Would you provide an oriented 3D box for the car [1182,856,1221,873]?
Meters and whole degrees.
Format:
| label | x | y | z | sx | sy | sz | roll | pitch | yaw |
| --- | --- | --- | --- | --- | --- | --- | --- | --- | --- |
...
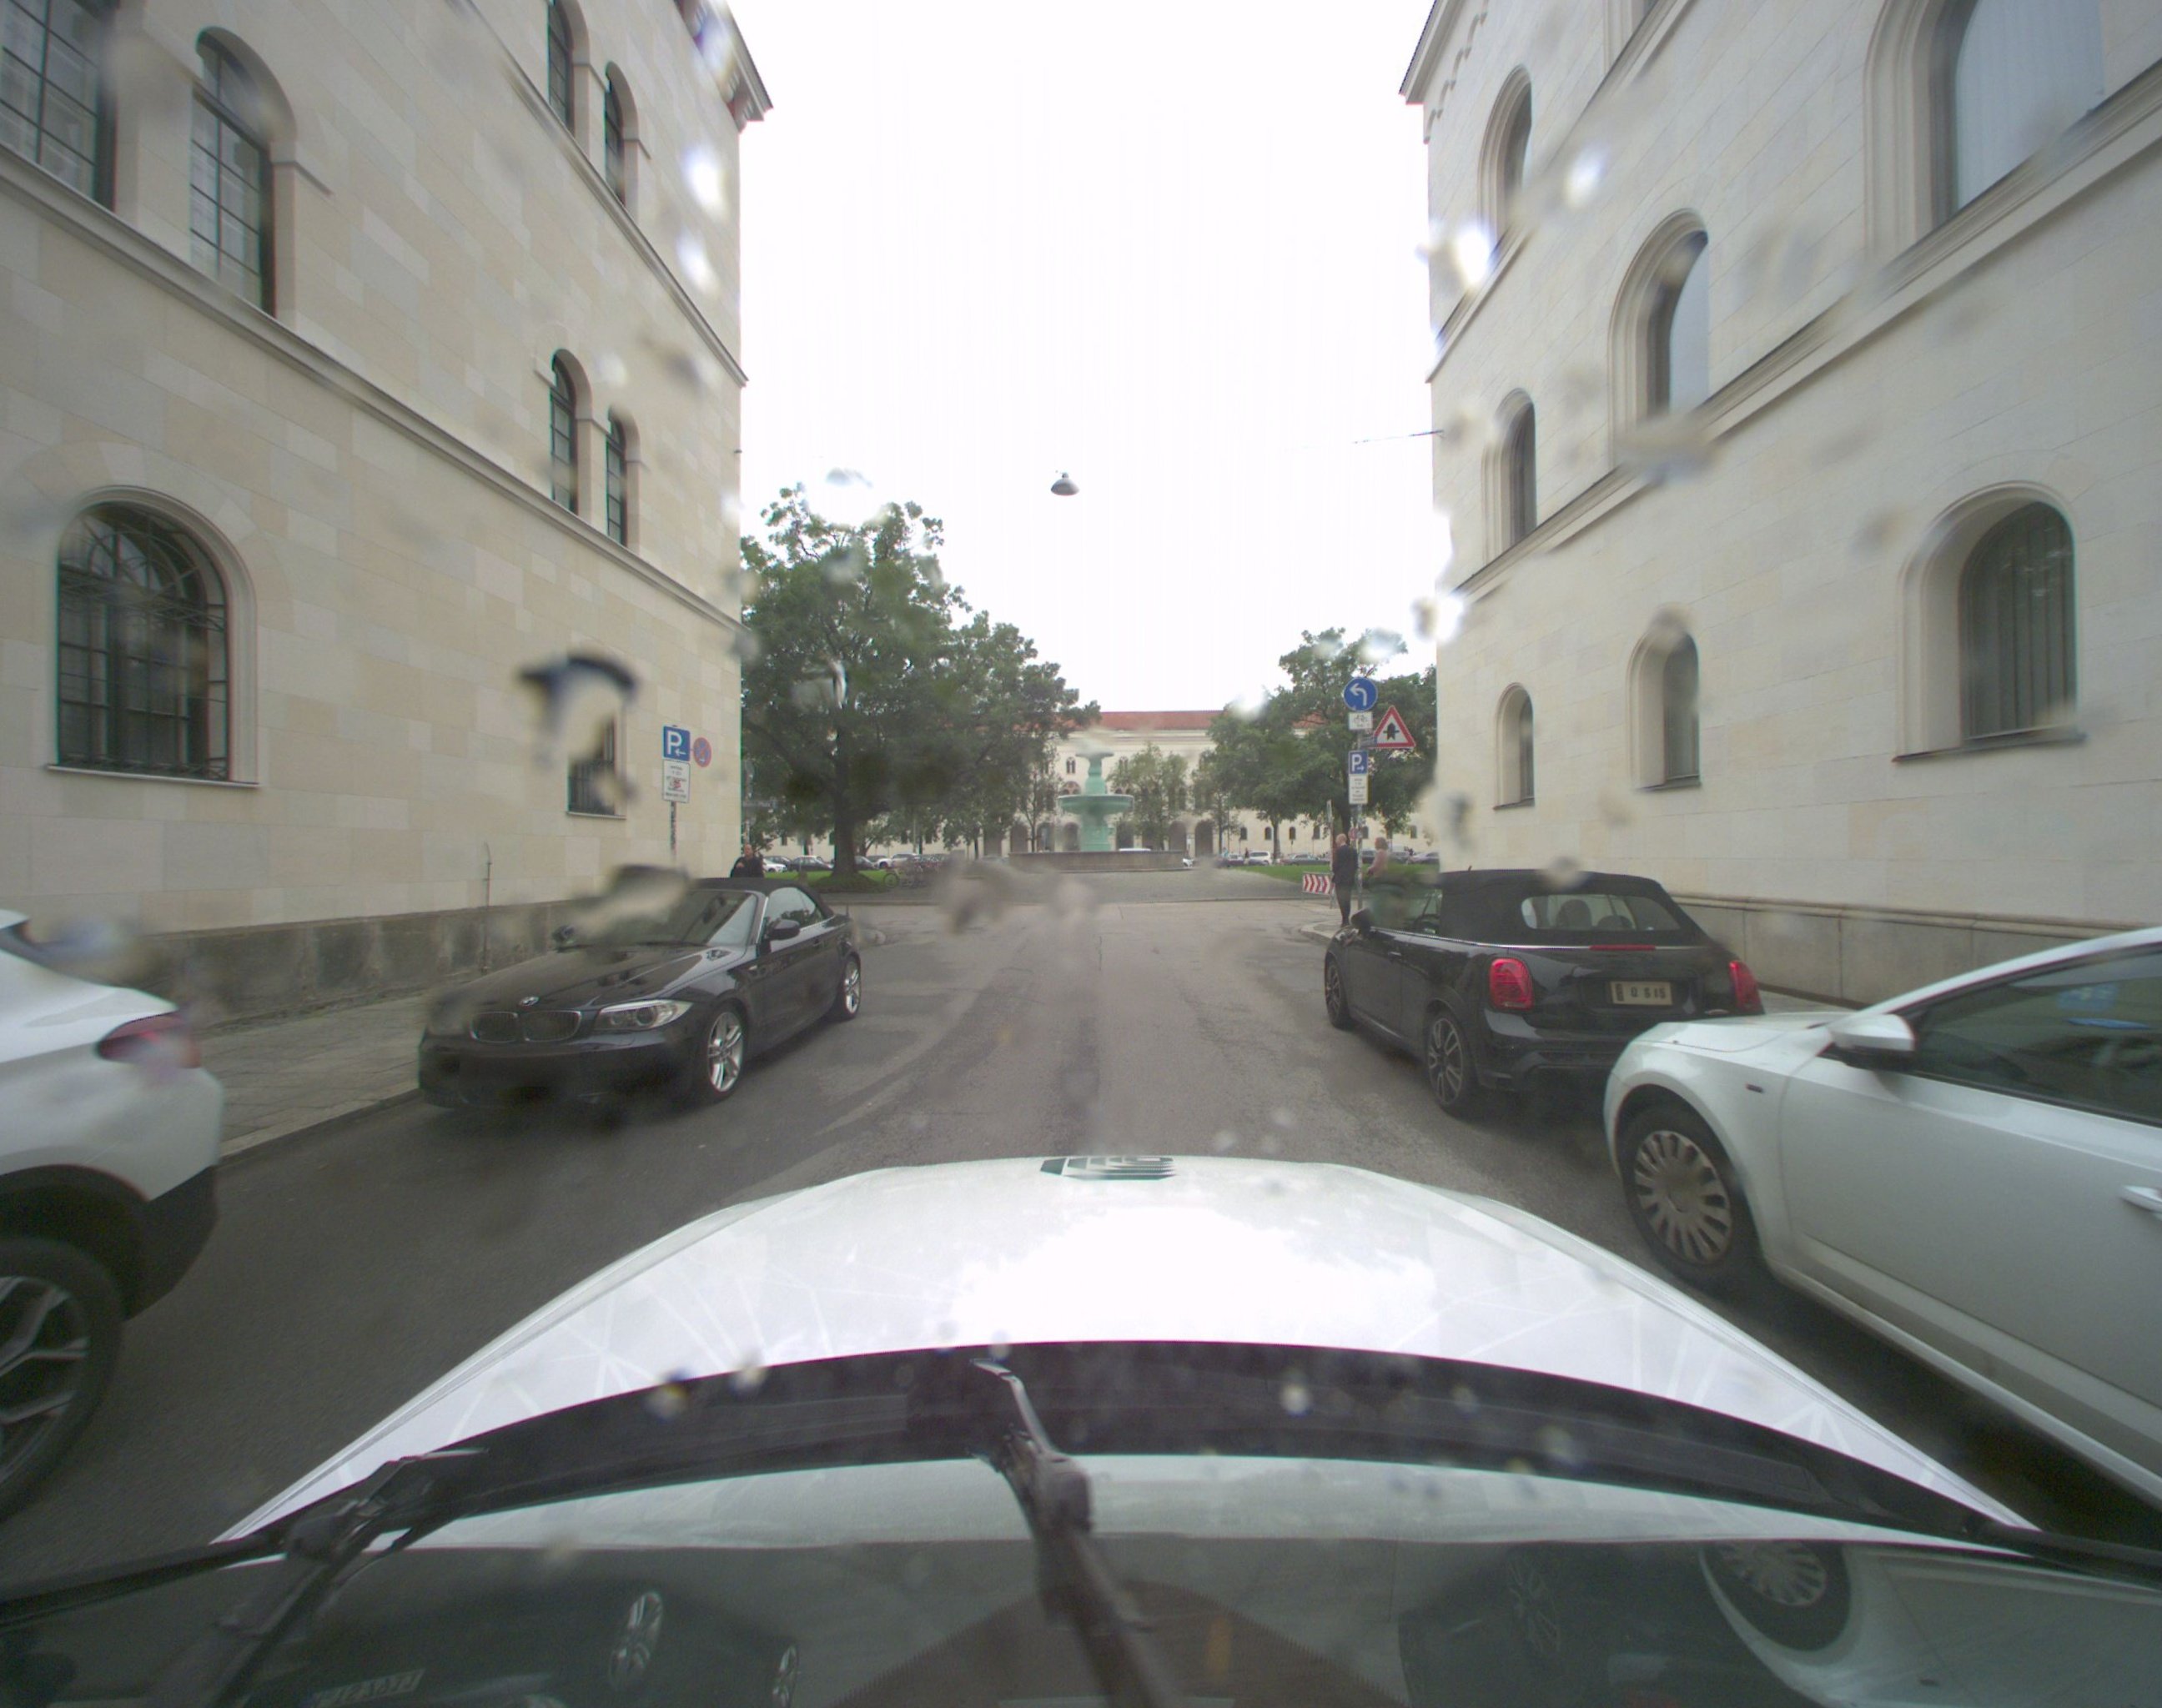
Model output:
| label | x | y | z | sx | sy | sz | roll | pitch | yaw |
| --- | --- | --- | --- | --- | --- | --- | --- | --- | --- |
| car | 12.873 | 1.092 | 87.142 | 3.974 | 1.750 | 1.808 | 0 | 0 | 0 |

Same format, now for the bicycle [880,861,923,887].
| label | x | y | z | sx | sy | sz | roll | pitch | yaw |
| --- | --- | --- | --- | --- | --- | --- | --- | --- | --- |
| bicycle | -7.494 | 0.829 | 33.965 | 1.608 | 1.035 | 0.700 | 0 | 0 | 12 |

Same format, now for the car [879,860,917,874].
| label | x | y | z | sx | sy | sz | roll | pitch | yaw |
| --- | --- | --- | --- | --- | --- | --- | --- | --- | --- |
| car | -19.587 | 1.378 | 87.337 | 3.660 | 1.376 | 1.602 | -1 | 0 | -1 |

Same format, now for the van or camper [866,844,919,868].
| label | x | y | z | sx | sy | sz | roll | pitch | yaw |
| --- | --- | --- | --- | --- | --- | --- | --- | --- | --- |
| van or camper | -18.487 | 0.209 | 79.990 | 4.567 | 2.014 | 1.999 | -3 | -1 | -2 |

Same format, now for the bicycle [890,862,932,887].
| label | x | y | z | sx | sy | sz | roll | pitch | yaw |
| --- | --- | --- | --- | --- | --- | --- | --- | --- | --- |
| bicycle | -7.272 | 0.847 | 34.788 | 1.608 | 1.035 | 0.700 | 0 | 0 | 12 |

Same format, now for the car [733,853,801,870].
| label | x | y | z | sx | sy | sz | roll | pitch | yaw |
| --- | --- | --- | --- | --- | --- | --- | --- | --- | --- |
| car | -26.587 | 0.626 | 69.119 | 4.953 | 1.376 | 2.000 | -1 | 0 | -1 |

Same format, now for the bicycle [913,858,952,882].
| label | x | y | z | sx | sy | sz | roll | pitch | yaw |
| --- | --- | --- | --- | --- | --- | --- | --- | --- | --- |
| bicycle | -6.915 | 0.722 | 37.953 | 1.608 | 1.099 | 0.700 | 0 | 0 | 12 |

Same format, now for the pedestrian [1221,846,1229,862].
| label | x | y | z | sx | sy | sz | roll | pitch | yaw |
| --- | --- | --- | --- | --- | --- | --- | --- | --- | --- |
| pedestrian | 11.013 | 0.019 | 62.453 | 0.438 | 1.214 | 0.538 | -1 | 0 | 27 |

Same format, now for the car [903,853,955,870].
| label | x | y | z | sx | sy | sz | roll | pitch | yaw |
| --- | --- | --- | --- | --- | --- | --- | --- | --- | --- |
| car | -12.870 | 0.611 | 68.953 | 3.975 | 1.376 | 2.000 | -1 | 0 | -1 |

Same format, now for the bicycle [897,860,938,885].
| label | x | y | z | sx | sy | sz | roll | pitch | yaw |
| --- | --- | --- | --- | --- | --- | --- | --- | --- | --- |
| bicycle | -7.112 | 0.804 | 35.522 | 1.608 | 1.035 | 0.700 | 0 | 0 | 12 |

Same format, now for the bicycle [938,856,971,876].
| label | x | y | z | sx | sy | sz | roll | pitch | yaw |
| --- | --- | --- | --- | --- | --- | --- | --- | --- | --- |
| bicycle | -6.542 | 0.618 | 42.167 | 1.525 | 1.019 | 0.700 | 0 | 0 | 12 |

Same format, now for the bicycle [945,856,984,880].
| label | x | y | z | sx | sy | sz | roll | pitch | yaw |
| --- | --- | --- | --- | --- | --- | --- | --- | --- | --- |
| bicycle | -5.549 | 0.659 | 38.782 | 1.698 | 1.099 | 0.700 | 0 | 0 | 12 |

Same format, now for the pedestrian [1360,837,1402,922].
| label | x | y | z | sx | sy | sz | roll | pitch | yaw |
| --- | --- | --- | --- | --- | --- | --- | --- | --- | --- |
| pedestrian | 6.042 | 0.503 | 16.415 | 0.619 | 1.681 | 0.545 | 1 | 0 | -5 |

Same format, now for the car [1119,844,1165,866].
| label | x | y | z | sx | sy | sz | roll | pitch | yaw |
| --- | --- | --- | --- | --- | --- | --- | --- | --- | --- |
| car | 5.742 | 0.109 | 76.558 | 4.306 | 2.013 | 1.826 | 0 | 0 | 4 |

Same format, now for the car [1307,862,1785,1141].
| label | x | y | z | sx | sy | sz | roll | pitch | yaw |
| --- | --- | --- | --- | --- | --- | --- | --- | --- | --- |
| car | 2.939 | 0.787 | 6.125 | 1.534 | 1.426 | 3.774 | 0 | 0 | 2 |

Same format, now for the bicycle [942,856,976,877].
| label | x | y | z | sx | sy | sz | roll | pitch | yaw |
| --- | --- | --- | --- | --- | --- | --- | --- | --- | --- |
| bicycle | -6.206 | 0.637 | 41.365 | 1.525 | 1.019 | 0.700 | 0 | 0 | 12 |

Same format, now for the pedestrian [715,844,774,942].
| label | x | y | z | sx | sy | sz | roll | pitch | yaw |
| --- | --- | --- | --- | --- | --- | --- | --- | --- | --- |
| pedestrian | -6.204 | 0.705 | 15.040 | 0.752 | 1.749 | 0.689 | -1 | 0 | -1 |

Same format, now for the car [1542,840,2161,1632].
| label | x | y | z | sx | sy | sz | roll | pitch | yaw |
| --- | --- | --- | --- | --- | --- | --- | --- | --- | --- |
| car | 2.930 | 0.722 | 1.481 | 1.783 | 1.476 | 4.314 | -1 | 0 | 1 |

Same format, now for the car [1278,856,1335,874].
| label | x | y | z | sx | sy | sz | roll | pitch | yaw |
| --- | --- | --- | --- | --- | --- | --- | --- | --- | --- |
| car | 19.042 | 0.916 | 68.855 | 4.340 | 1.418 | 1.805 | -1 | 0 | 2 |

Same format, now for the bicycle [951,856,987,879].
| label | x | y | z | sx | sy | sz | roll | pitch | yaw |
| --- | --- | --- | --- | --- | --- | --- | --- | --- | --- |
| bicycle | -5.401 | 0.646 | 39.452 | 1.608 | 1.099 | 0.618 | 0 | 0 | 12 |

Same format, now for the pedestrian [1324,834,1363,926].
| label | x | y | z | sx | sy | sz | roll | pitch | yaw |
| --- | --- | --- | --- | --- | --- | --- | --- | --- | --- |
| pedestrian | 5.220 | 0.512 | 16.205 | 0.638 | 1.808 | 0.490 | -1 | 0 | 6 |

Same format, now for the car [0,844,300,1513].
| label | x | y | z | sx | sy | sz | roll | pitch | yaw |
| --- | --- | --- | --- | --- | --- | --- | --- | --- | --- |
| car | -3.397 | 0.762 | 0.471 | 1.772 | 1.535 | 4.211 | -2 | -1 | 0 |

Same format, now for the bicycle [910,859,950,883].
| label | x | y | z | sx | sy | sz | roll | pitch | yaw |
| --- | --- | --- | --- | --- | --- | --- | --- | --- | --- |
| bicycle | -6.847 | 0.762 | 36.986 | 1.608 | 1.099 | 0.700 | 0 | 0 | 12 |

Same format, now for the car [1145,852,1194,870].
| label | x | y | z | sx | sy | sz | roll | pitch | yaw |
| --- | --- | --- | --- | --- | --- | --- | --- | --- | --- |
| car | 7.465 | 0.600 | 68.971 | 3.970 | 1.403 | 1.826 | -1 | 0 | 3 |

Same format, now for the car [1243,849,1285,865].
| label | x | y | z | sx | sy | sz | roll | pitch | yaw |
| --- | --- | --- | --- | --- | --- | --- | --- | --- | --- |
| car | 19.527 | 0.317 | 87.006 | 4.087 | 1.741 | 1.745 | 0 | 0 | -3 |

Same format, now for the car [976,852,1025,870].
| label | x | y | z | sx | sy | sz | roll | pitch | yaw |
| --- | --- | --- | --- | --- | --- | --- | --- | --- | --- |
| car | -6.806 | 0.578 | 69.088 | 3.975 | 1.376 | 2.000 | -1 | 0 | -1 |

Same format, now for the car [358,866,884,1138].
| label | x | y | z | sx | sy | sz | roll | pitch | yaw |
| --- | --- | --- | --- | --- | --- | --- | --- | --- | --- |
| car | -3.018 | 0.836 | 6.533 | 1.692 | 1.393 | 4.213 | -2 | -1 | 1 |

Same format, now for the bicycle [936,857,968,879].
| label | x | y | z | sx | sy | sz | roll | pitch | yaw |
| --- | --- | --- | --- | --- | --- | --- | --- | --- | --- |
| bicycle | -6.388 | 0.688 | 40.386 | 1.391 | 1.099 | 0.659 | 0 | 0 | 12 |

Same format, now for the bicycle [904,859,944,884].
| label | x | y | z | sx | sy | sz | roll | pitch | yaw |
| --- | --- | --- | --- | --- | --- | --- | --- | --- | --- |
| bicycle | -6.978 | 0.772 | 36.246 | 1.608 | 1.099 | 0.700 | 0 | 0 | 12 |

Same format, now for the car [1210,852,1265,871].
| label | x | y | z | sx | sy | sz | roll | pitch | yaw |
| --- | --- | --- | --- | --- | --- | --- | --- | --- | --- |
| car | 13.219 | 0.620 | 68.754 | 4.340 | 1.524 | 1.805 | -1 | 0 | 2 |

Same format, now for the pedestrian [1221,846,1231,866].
| label | x | y | z | sx | sy | sz | roll | pitch | yaw |
| --- | --- | --- | --- | --- | --- | --- | --- | --- | --- |
| pedestrian | 10.974 | 0.165 | 61.755 | 0.577 | 1.465 | 0.551 | -1 | 0 | 24 |

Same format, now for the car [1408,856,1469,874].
| label | x | y | z | sx | sy | sz | roll | pitch | yaw |
| --- | --- | --- | --- | --- | --- | --- | --- | --- | --- |
| car | 30.204 | 0.918 | 68.832 | 4.340 | 1.418 | 1.805 | -1 | 0 | 2 |

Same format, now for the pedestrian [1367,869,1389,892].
| label | x | y | z | sx | sy | sz | roll | pitch | yaw |
| --- | --- | --- | --- | --- | --- | --- | --- | --- | --- |
| pedestrian | 10.256 | 0.904 | 28.128 | 0.566 | 0.762 | 0.567 | 0 | 0 | 5 |

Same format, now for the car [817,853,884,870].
| label | x | y | z | sx | sy | sz | roll | pitch | yaw |
| --- | --- | --- | --- | --- | --- | --- | --- | --- | --- |
| car | -19.577 | 0.617 | 69.381 | 5.057 | 1.376 | 2.000 | -1 | 0 | -1 |

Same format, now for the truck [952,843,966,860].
| label | x | y | z | sx | sy | sz | roll | pitch | yaw |
| --- | --- | --- | --- | --- | --- | --- | --- | --- | --- |
| truck | -18.564 | -0.349 | 123.720 | 1.993 | 2.488 | 3.987 | 0 | 1 | -10 |

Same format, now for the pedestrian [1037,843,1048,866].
| label | x | y | z | sx | sy | sz | roll | pitch | yaw |
| --- | --- | --- | --- | --- | --- | --- | --- | --- | --- |
| pedestrian | -2.801 | 0.053 | 59.487 | 0.748 | 1.640 | 0.710 | -1 | 0 | 1 |
